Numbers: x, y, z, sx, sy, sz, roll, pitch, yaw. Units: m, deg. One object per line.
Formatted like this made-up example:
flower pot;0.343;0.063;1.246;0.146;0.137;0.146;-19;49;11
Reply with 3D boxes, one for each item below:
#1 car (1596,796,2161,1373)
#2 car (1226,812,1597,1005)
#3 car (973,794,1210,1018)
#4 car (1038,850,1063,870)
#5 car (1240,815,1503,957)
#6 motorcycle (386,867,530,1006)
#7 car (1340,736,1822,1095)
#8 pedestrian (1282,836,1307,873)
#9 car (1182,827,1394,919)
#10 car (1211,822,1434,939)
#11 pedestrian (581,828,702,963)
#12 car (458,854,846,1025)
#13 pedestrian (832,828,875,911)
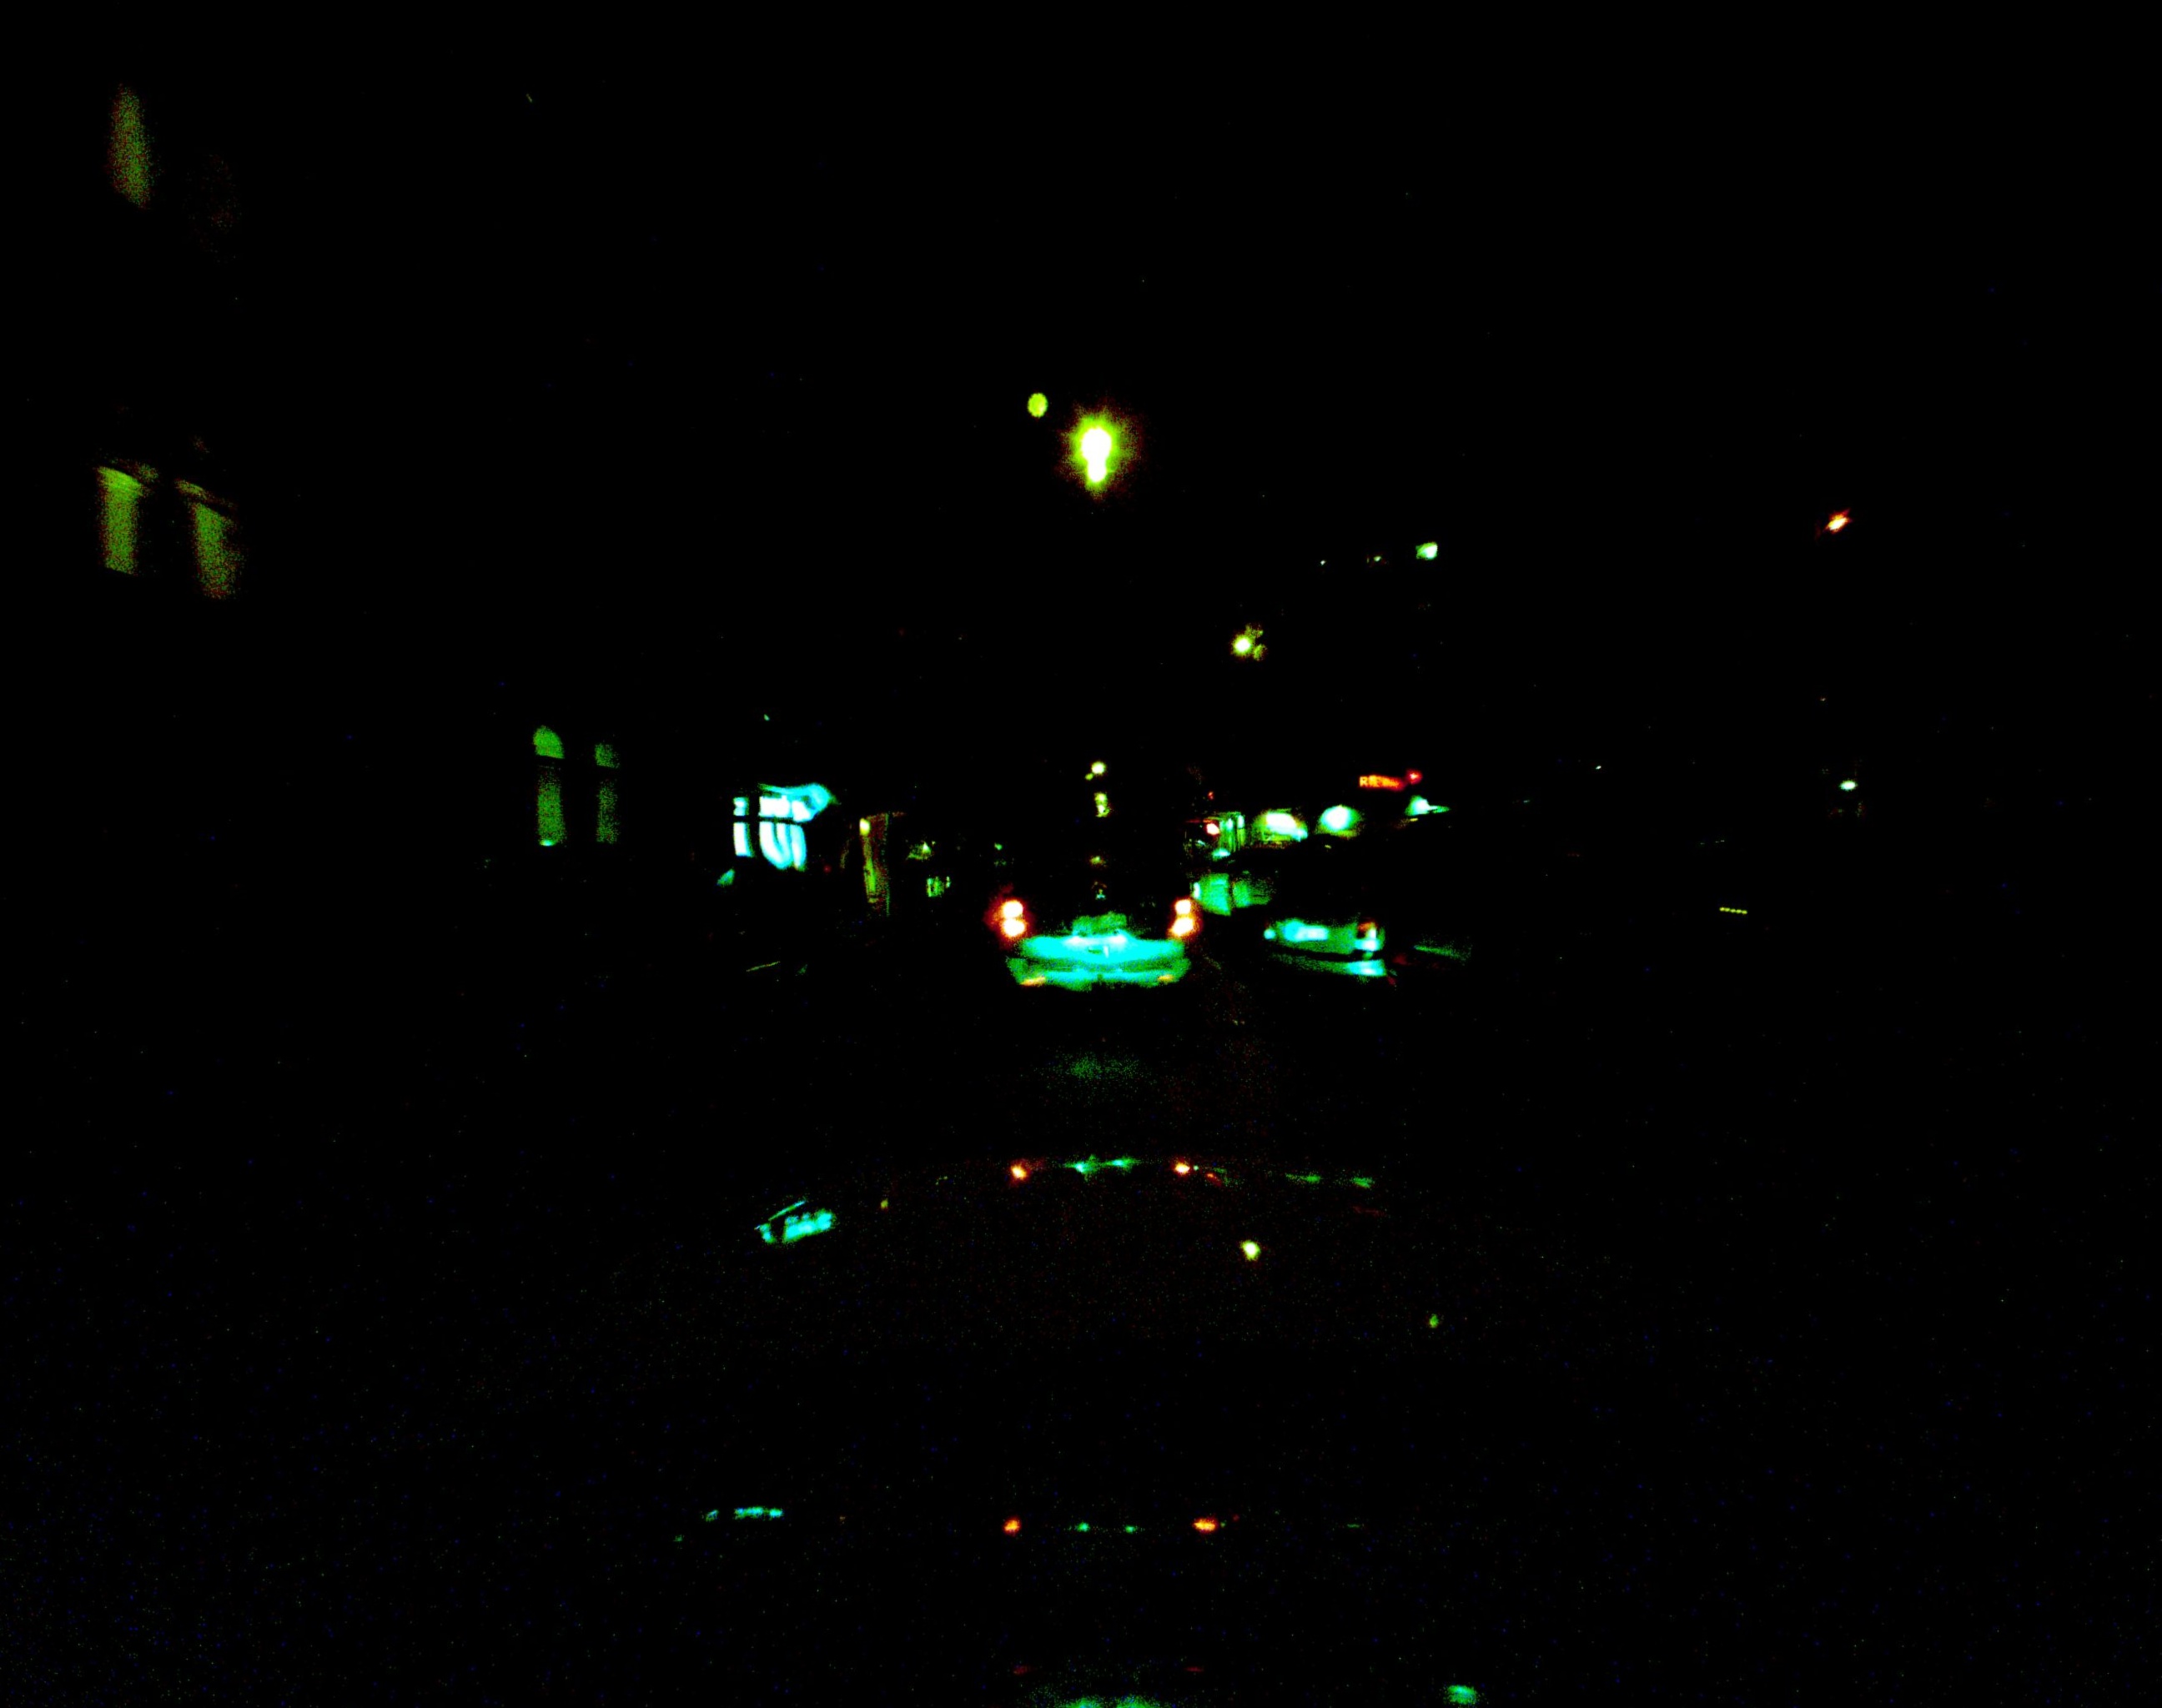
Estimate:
car;4.124;0.537;3.521;3.718;1.453;1.642;-4;0;-31
car;3.812;0.464;9.199;4.089;1.597;1.815;-4;0;-33
car;0.173;0.478;9.776;2.114;1.991;4.603;-2;0;2
car;-2.273;0.420;61.001;1.580;1.463;4.026;1;0;2
car;4.456;0.400;12.329;3.809;1.712;1.730;-4;0;-33
motorcycle;-7.236;0.906;9.543;0.535;1.471;1.458;-1;0;1
car;4.004;0.263;6.355;3.755;2.028;1.703;-4;0;-34
pedestrian;10.782;0.013;41.125;0.867;1.833;0.990;-3;-1;37
car;4.493;0.362;17.554;4.273;1.573;1.756;-4;0;-27
car;4.369;0.408;14.609;3.755;1.712;1.753;-4;0;-33
pedestrian;-6.548;0.585;12.230;0.952;1.863;1.415;-2;0;0
car;-4.587;0.772;9.831;1.840;1.478;5.033;-2;0;2
pedestrian;-6.419;0.421;23.001;0.796;2.241;1.116;-2;0;0
